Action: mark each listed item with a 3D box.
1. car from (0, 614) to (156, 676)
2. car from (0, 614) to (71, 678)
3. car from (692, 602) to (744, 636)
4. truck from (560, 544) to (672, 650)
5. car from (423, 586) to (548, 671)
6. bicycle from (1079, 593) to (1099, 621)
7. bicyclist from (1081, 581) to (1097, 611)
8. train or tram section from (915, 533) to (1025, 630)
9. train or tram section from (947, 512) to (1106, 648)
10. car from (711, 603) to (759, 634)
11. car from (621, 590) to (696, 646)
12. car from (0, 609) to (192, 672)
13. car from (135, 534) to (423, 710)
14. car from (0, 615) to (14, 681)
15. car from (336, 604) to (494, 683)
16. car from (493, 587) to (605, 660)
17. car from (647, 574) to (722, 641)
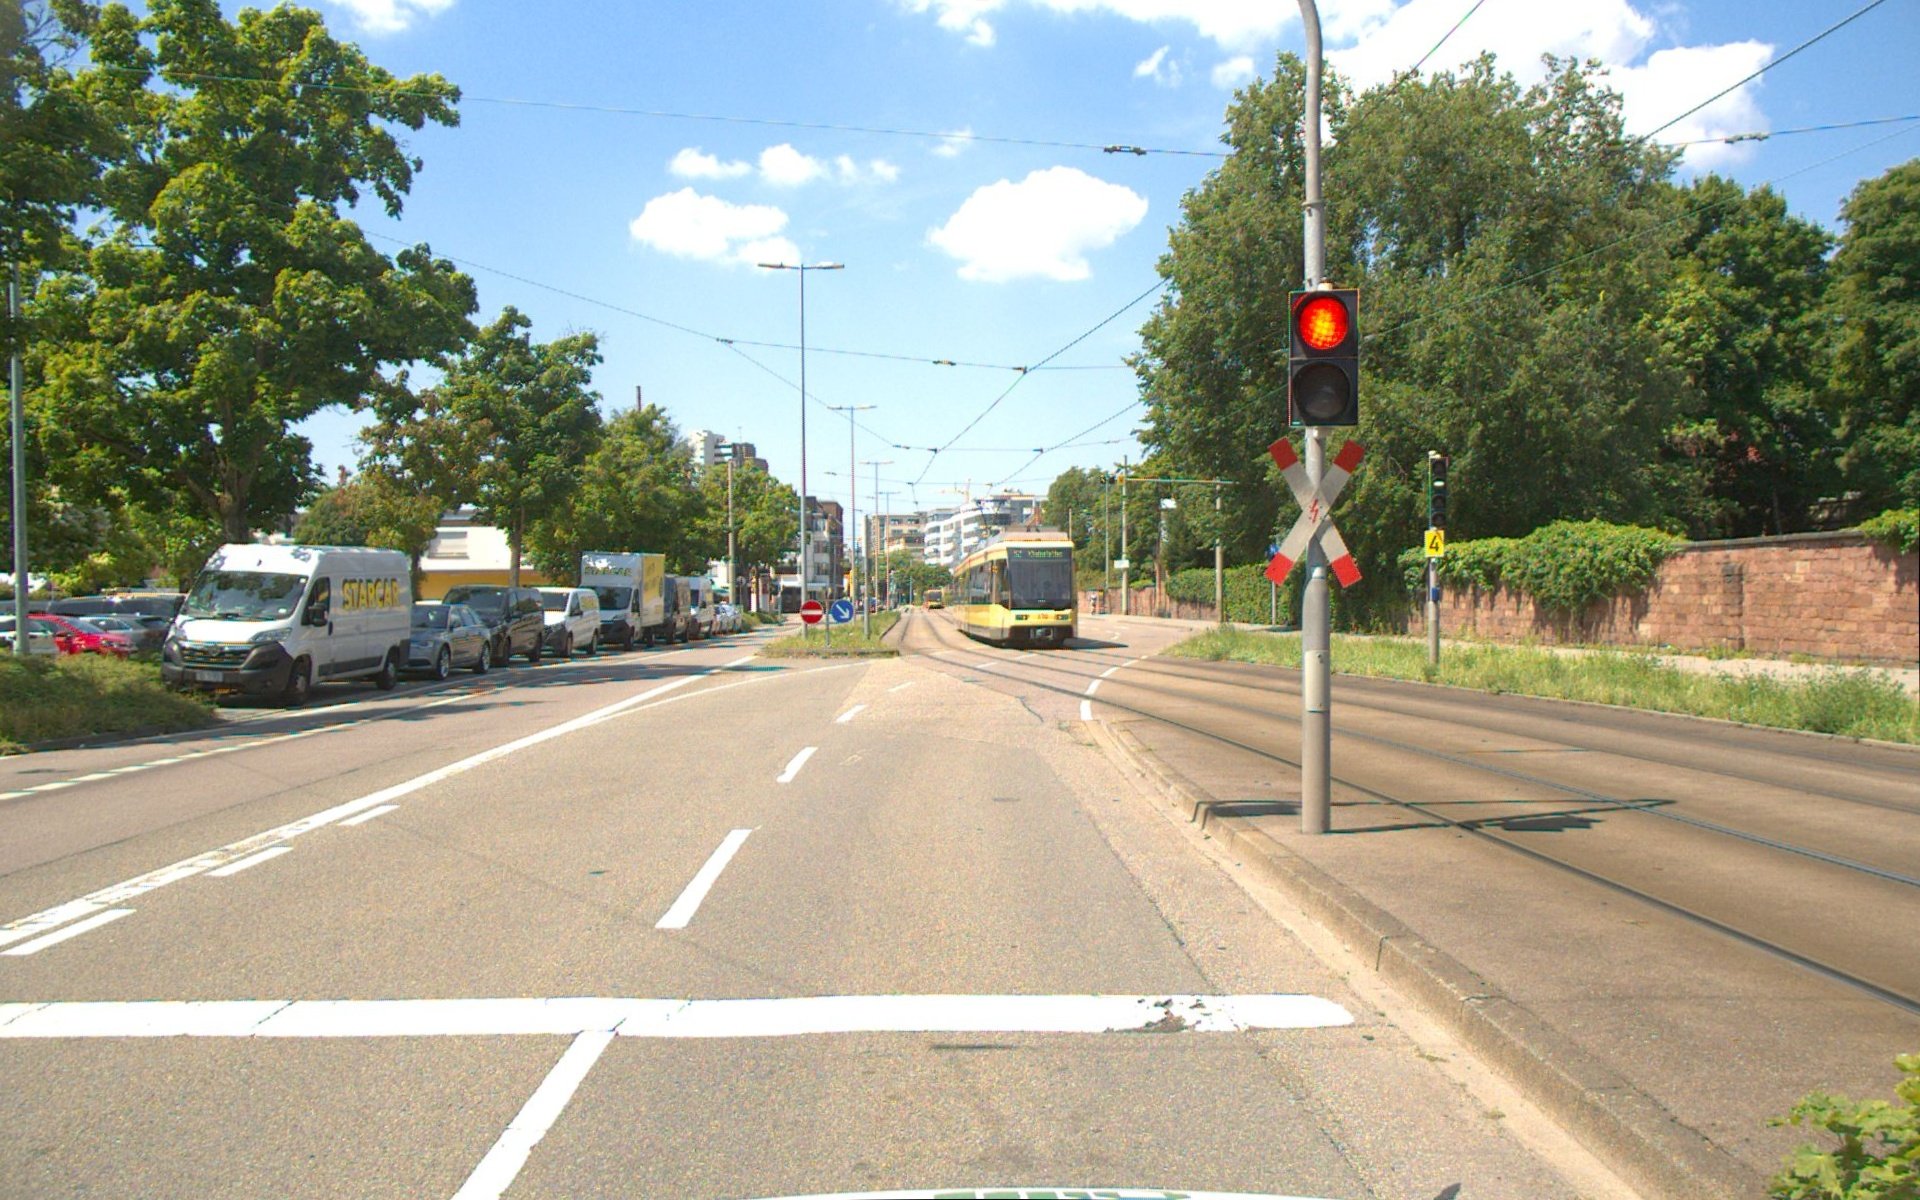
[{"bbox_3d":[-21.504,1.058,39.261,3.907,1.362,1.804,-1,0,-3],"label":"car"},{"bbox_3d":[-22.169,1.037,36.646,3.907,1.362,1.804,-1,0,-3],"label":"car"},{"bbox_3d":[-12.371,0.954,84.900,2.019,1.609,4.870,-1,0,-1],"label":"car"},{"bbox_3d":[-11.499,-0.098,55.858,2.112,3.266,7.083,2,0,1],"label":"truck"},{"bbox_3d":[-11.480,0.651,40.314,1.831,1.928,4.270,-1,0,-1],"label":"car"},{"bbox_3d":[9.244,0.474,118.433,1.070,1.941,3.681,-1,0,-1],"label":"bicycle"},{"bbox_3d":[9.258,-0.290,118.445,1.074,2.145,1.031,0,-1,-1],"label":"bicyclist"},{"bbox_3d":[0.119,-0.785,74.339,2.886,3.756,20.260,0,0,-5],"label":"train or tram section"},{"bbox_3d":[1.784,-0.610,55.207,2.886,3.756,18.368,0,0,-5],"label":"train or tram section"},{"bbox_3d":[-12.492,0.987,92.093,2.019,1.609,4.870,-1,0,-1],"label":"car"},{"bbox_3d":[-11.487,0.643,63.320,2.019,2.011,4.870,-1,0,-1],"label":"car"},{"bbox_3d":[-21.802,1.008,41.805,3.907,1.467,1.804,-1,0,-2],"label":"car"},{"bbox_3d":[-11.152,0.315,27.741,2.112,2.530,6.193,2,0,1],"label":"car"},{"bbox_3d":[-21.944,1.034,34.015,3.907,1.362,1.804,-1,0,-3],"label":"car"},{"bbox_3d":[-11.063,0.834,33.875,1.831,1.462,4.342,-1,0,-1],"label":"car"},{"bbox_3d":[-11.665,0.626,47.274,2.019,1.931,4.870,-1,0,-1],"label":"car"},{"bbox_3d":[-11.742,0.282,70.969,2.112,2.685,5.612,2,0,1],"label":"car"}]
